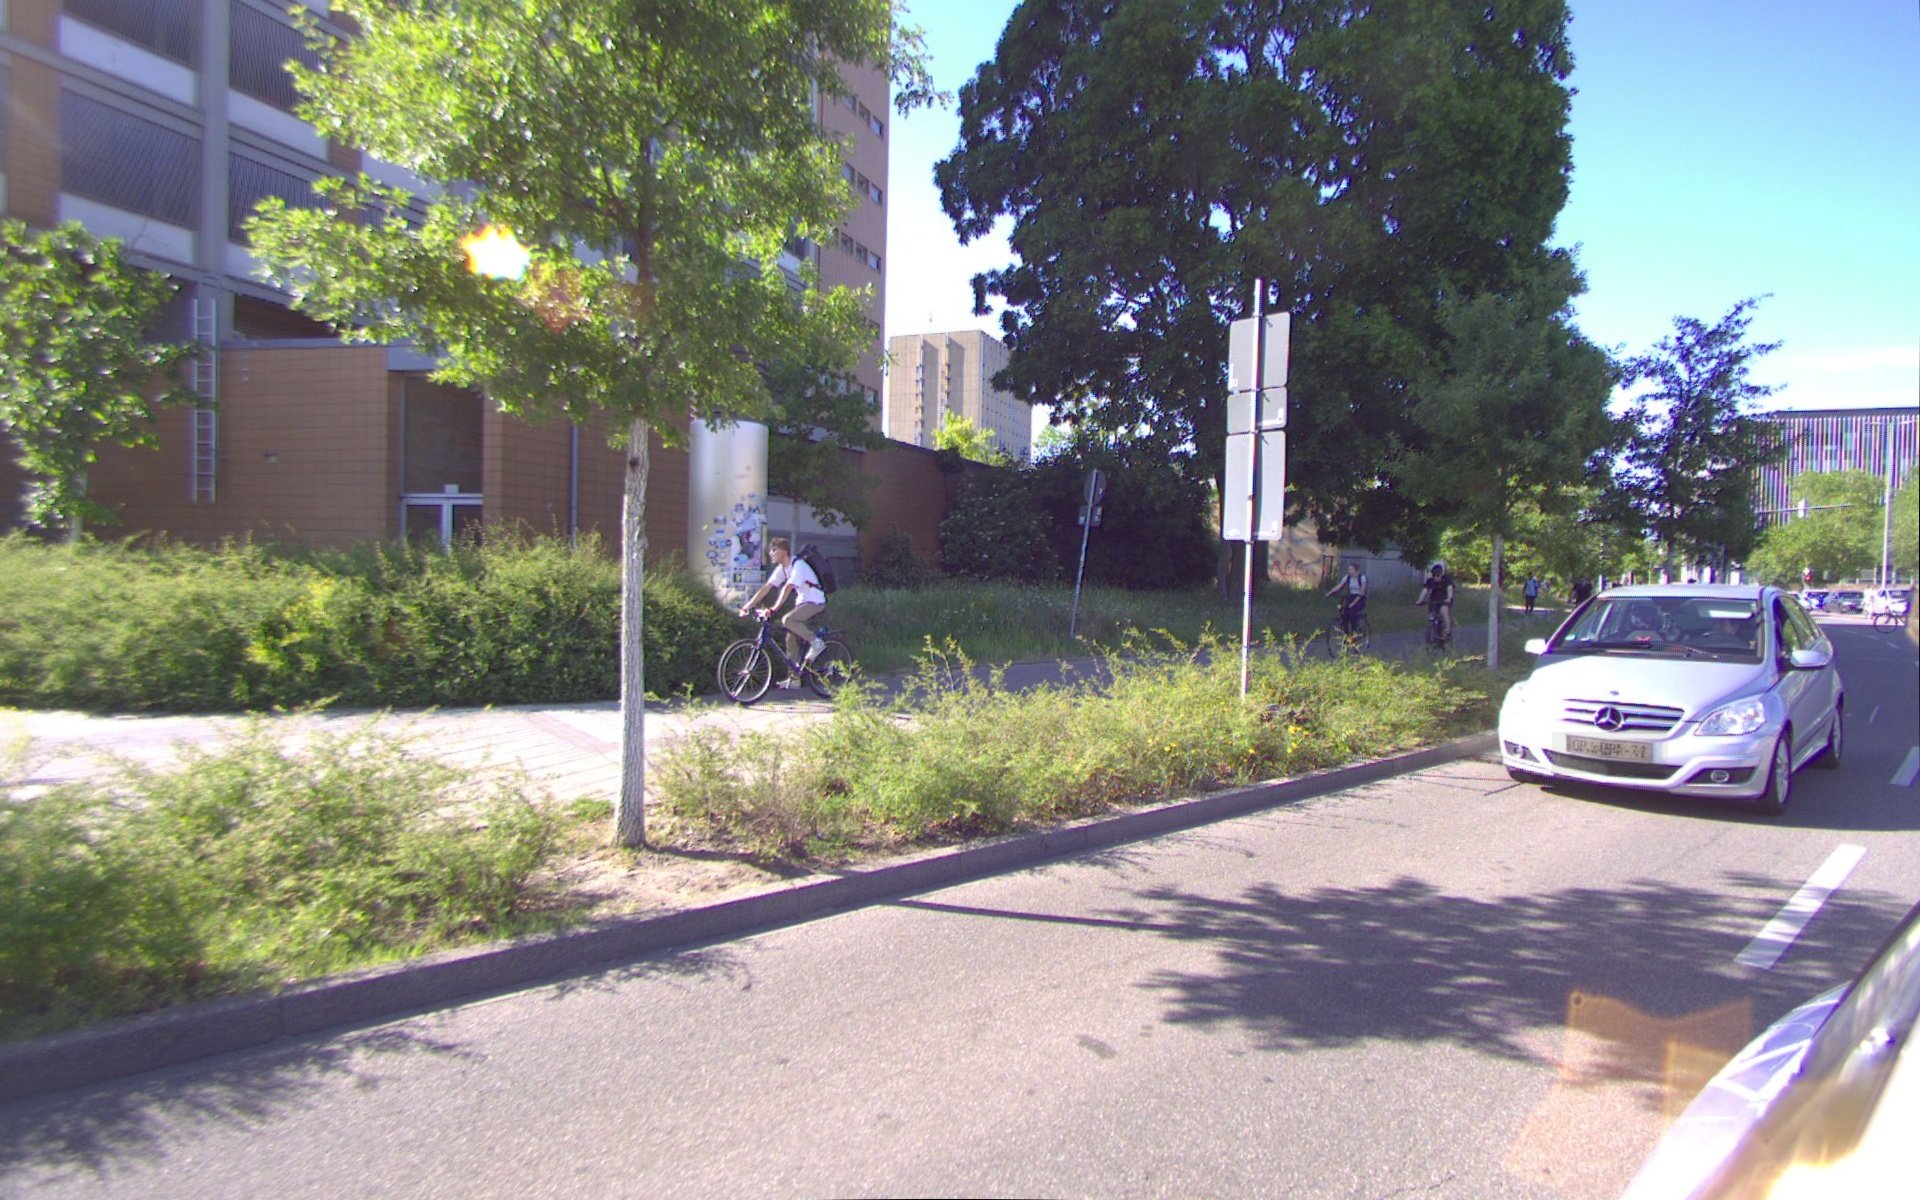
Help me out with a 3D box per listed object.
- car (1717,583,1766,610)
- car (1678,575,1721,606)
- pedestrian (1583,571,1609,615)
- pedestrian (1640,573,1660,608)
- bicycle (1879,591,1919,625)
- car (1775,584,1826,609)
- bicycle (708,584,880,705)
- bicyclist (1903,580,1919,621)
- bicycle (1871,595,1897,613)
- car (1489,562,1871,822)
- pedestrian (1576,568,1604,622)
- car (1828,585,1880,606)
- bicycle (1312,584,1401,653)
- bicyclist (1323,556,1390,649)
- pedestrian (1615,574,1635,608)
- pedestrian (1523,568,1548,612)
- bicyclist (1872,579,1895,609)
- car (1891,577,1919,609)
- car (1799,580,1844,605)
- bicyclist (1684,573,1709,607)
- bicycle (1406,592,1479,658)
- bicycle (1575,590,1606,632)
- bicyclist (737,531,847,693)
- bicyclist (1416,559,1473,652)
[{"bbox_3d":[45.094,-0.201,58.448,1.737,1.494,3.538,0,1,29],"label":"car"},{"bbox_3d":[47.383,-0.635,64.914,1.814,1.876,3.712,2,2,30],"label":"car"},{"bbox_3d":[24.104,-0.266,38.364,0.685,1.624,0.657,2,1,21],"label":"pedestrian"},{"bbox_3d":[39.315,-0.536,57.672,0.812,1.941,0.766,0,0,23],"label":"pedestrian"},{"bbox_3d":[34.988,0.285,36.855,2.102,1.189,0.759,0,1,24],"label":"bicycle"},{"bbox_3d":[48.745,-0.223,58.741,1.739,1.395,3.535,1,1,31],"label":"car"},{"bbox_3d":[-1.701,0.421,10.540,1.711,1.139,0.572,0,3,-43],"label":"bicycle"},{"bbox_3d":[35.055,0.029,36.829,0.838,1.492,0.759,1,1,24],"label":"bicyclist"},{"bbox_3d":[48.329,0.190,52.945,0.585,0.900,1.638,0,0,28],"label":"bicycle"},{"bbox_3d":[6.106,0.560,8.403,3.974,1.645,1.783,0,1,-42],"label":"car"},{"bbox_3d":[17.097,-0.156,27.465,0.515,1.419,0.949,4,3,37],"label":"pedestrian"},{"bbox_3d":[55.869,-0.309,63.309,1.571,1.219,3.961,0,2,28],"label":"car"},{"bbox_3d":[7.272,0.316,18.530,1.850,1.177,0.687,0,4,-41],"label":"bicycle"},{"bbox_3d":[7.242,0.033,18.485,0.960,1.617,0.687,0,4,-41],"label":"bicyclist"},{"bbox_3d":[38.317,-0.537,58.318,0.812,1.941,0.766,0,0,23],"label":"pedestrian"},{"bbox_3d":[21.757,-0.383,38.260,0.685,1.624,0.657,2,1,21],"label":"pedestrian"},{"bbox_3d":[48.333,-0.311,52.959,0.689,1.578,0.808,0,0,29],"label":"bicyclist"},{"bbox_3d":[52.219,-0.356,55.006,1.511,1.700,3.348,1,0,27],"label":"car"},{"bbox_3d":[59.184,-0.532,69.583,1.580,1.625,3.044,1,1,26],"label":"car"},{"bbox_3d":[28.646,-0.398,39.373,0.718,1.294,0.896,4,3,36],"label":"bicyclist"},{"bbox_3d":[8.848,0.421,18.524,0.625,1.127,1.821,3,2,44],"label":"bicycle"},{"bbox_3d":[17.208,0.279,27.614,0.515,1.057,1.745,4,4,36],"label":"bicycle"},{"bbox_3d":[-1.737,0.102,10.485,0.931,1.588,0.572,0,3,-43],"label":"bicyclist"},{"bbox_3d":[8.879,0.087,18.545,0.625,1.658,0.979,3,2,44],"label":"bicyclist"}]
